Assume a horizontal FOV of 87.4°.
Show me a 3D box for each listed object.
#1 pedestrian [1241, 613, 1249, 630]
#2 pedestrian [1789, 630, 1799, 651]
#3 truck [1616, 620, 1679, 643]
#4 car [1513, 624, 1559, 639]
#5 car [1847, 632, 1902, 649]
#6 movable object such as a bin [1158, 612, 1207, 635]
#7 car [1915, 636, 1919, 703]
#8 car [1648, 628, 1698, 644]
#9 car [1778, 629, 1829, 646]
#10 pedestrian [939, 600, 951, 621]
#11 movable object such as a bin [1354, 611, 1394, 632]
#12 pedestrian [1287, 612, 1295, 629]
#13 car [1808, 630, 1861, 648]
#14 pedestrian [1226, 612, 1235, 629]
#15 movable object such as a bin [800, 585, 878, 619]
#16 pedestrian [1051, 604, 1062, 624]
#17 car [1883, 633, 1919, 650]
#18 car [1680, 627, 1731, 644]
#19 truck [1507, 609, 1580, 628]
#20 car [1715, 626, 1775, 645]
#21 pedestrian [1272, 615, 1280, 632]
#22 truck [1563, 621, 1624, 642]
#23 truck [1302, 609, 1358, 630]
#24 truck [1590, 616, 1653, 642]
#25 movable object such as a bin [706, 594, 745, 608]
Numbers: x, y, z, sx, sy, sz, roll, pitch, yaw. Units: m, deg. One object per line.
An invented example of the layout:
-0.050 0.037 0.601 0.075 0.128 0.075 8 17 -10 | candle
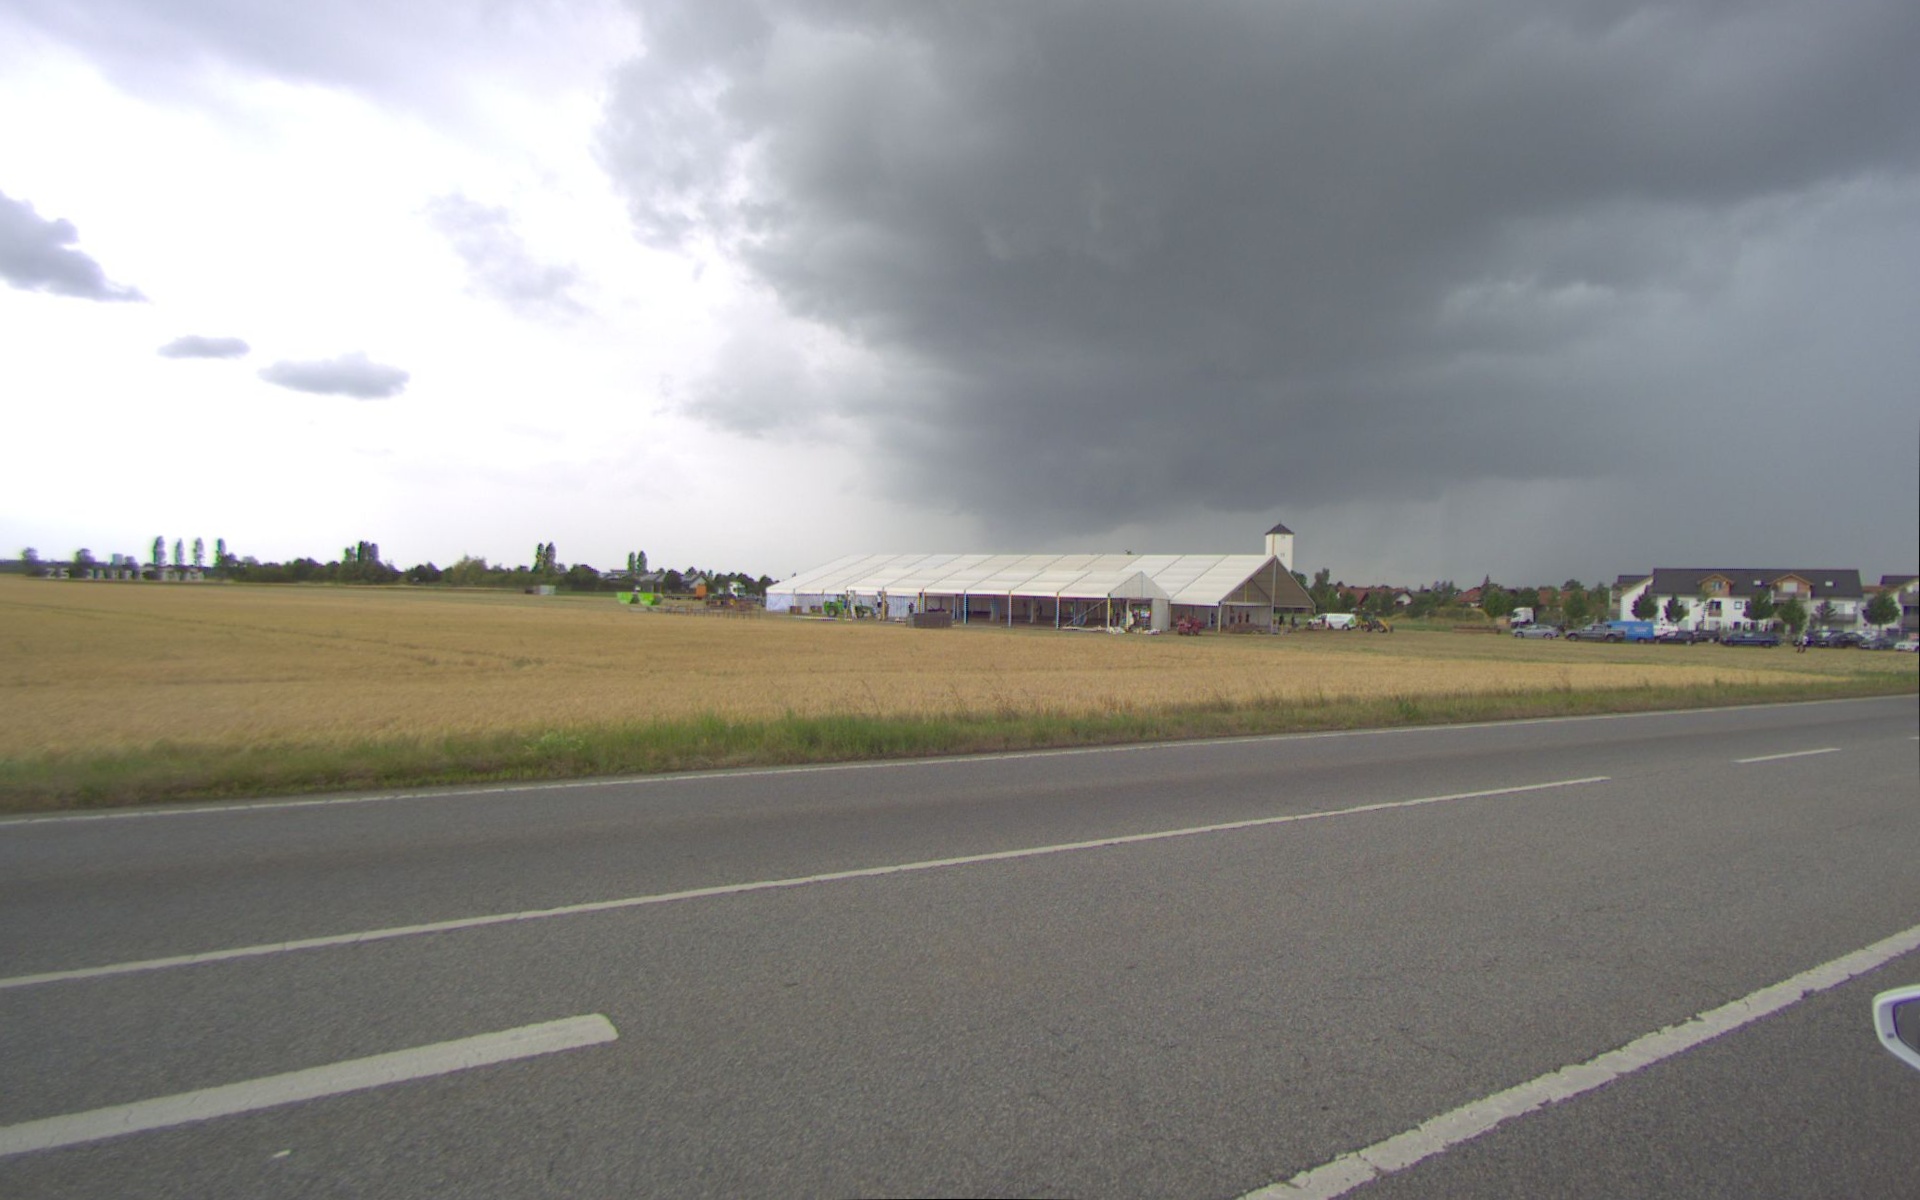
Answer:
31.085 2.360 109.520 0.643 1.767 0.727 2 0 2 | pedestrian
72.006 3.519 86.744 0.674 1.809 0.543 2 0 -44 | pedestrian
73.949 3.397 108.042 5.490 2.226 2.599 1 0 35 | truck
61.948 3.365 108.084 4.233 1.481 1.887 1 0 31 | car
88.501 3.937 97.229 4.141 1.556 1.994 1 0 -14 | car
18.866 1.999 85.138 2.554 1.889 4.461 1 -1 34 | movable object such as a bin
22.826 1.539 21.933 4.374 1.429 1.817 2 -1 -32 | car
73.382 3.688 103.439 4.102 1.539 1.992 1 -1 38 | car
87.407 3.859 104.117 4.141 1.650 1.994 1 0 -14 | car
-1.442 1.036 97.432 1.006 2.040 0.806 2 0 -5 | pedestrian
47.181 2.407 114.510 3.926 2.272 1.882 1 0 30 | movable object such as a bin
37.368 2.322 113.394 0.615 1.890 0.706 1 0 35 | pedestrian
87.223 3.871 100.151 4.141 1.650 1.994 1 0 -14 | car
29.320 2.256 109.012 0.717 1.803 0.760 2 0 2 | pedestrian
-13.035 0.200 107.803 7.461 3.219 4.143 2 0 37 | movable object such as a bin
10.729 1.542 111.783 0.931 2.130 0.860 2 0 -33 | pedestrian
89.609 3.944 94.667 4.141 1.465 1.994 1 0 -14 | car
83.854 3.925 113.006 4.567 1.719 1.992 1 0 38 | car
89.144 2.775 153.701 3.262 2.563 9.297 2 0 -31 | truck
78.131 3.529 100.067 4.656 1.719 1.992 1 0 38 | car
34.367 2.548 109.248 0.679 1.799 0.693 1 0 34 | pedestrian
64.115 3.198 101.778 5.152 1.946 2.108 1 0 32 | truck
44.352 2.317 120.446 5.957 2.246 2.715 1 0 31 | truck
68.029 2.988 103.337 5.375 2.478 2.386 1 0 35 | truck
-35.479 0.142 152.033 2.527 2.040 5.391 2 0 38 | movable object such as a bin
